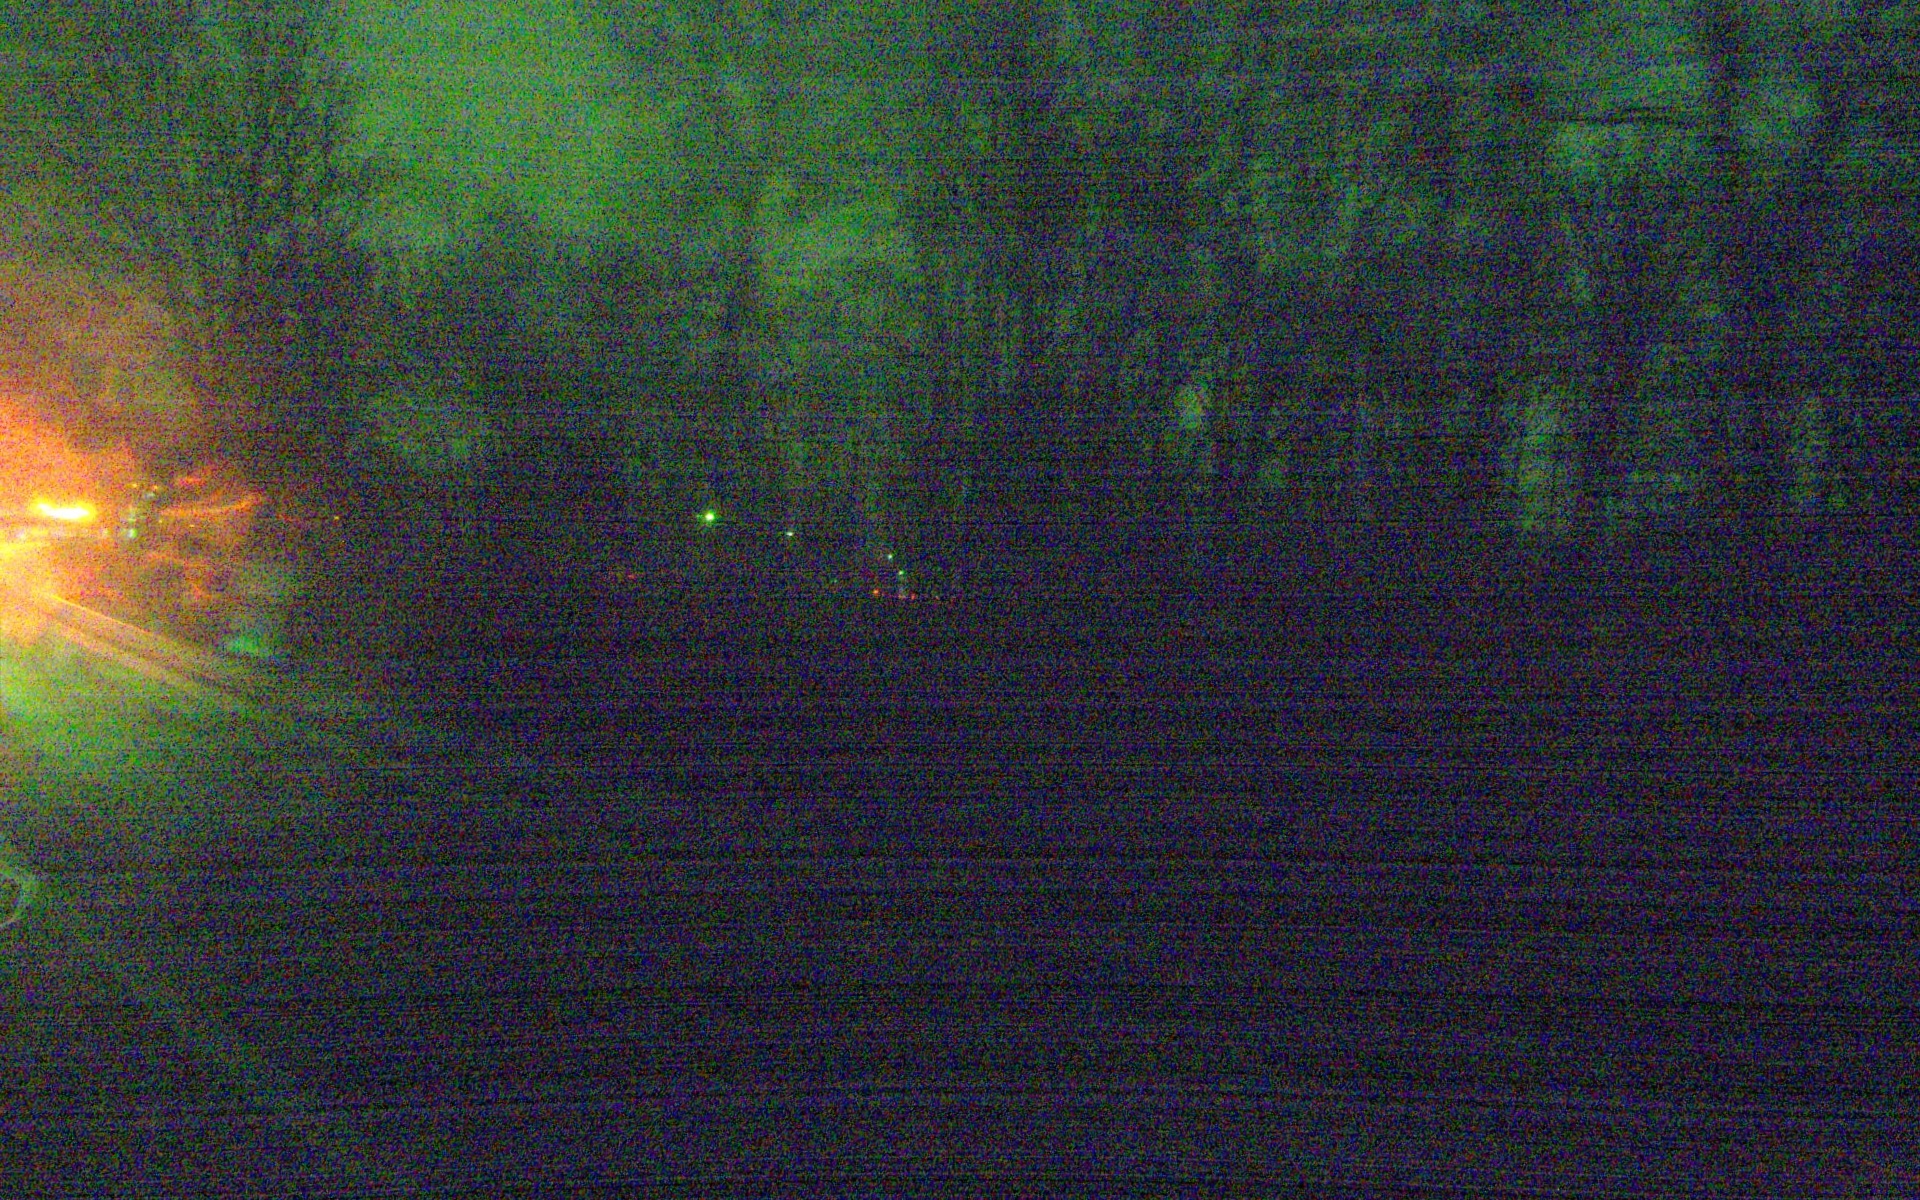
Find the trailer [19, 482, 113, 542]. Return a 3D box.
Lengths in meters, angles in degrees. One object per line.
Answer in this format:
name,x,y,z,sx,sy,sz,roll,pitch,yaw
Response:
trailer,-39.843,-3.800,45.098,2.064,2.039,10.547,3,0,-36
